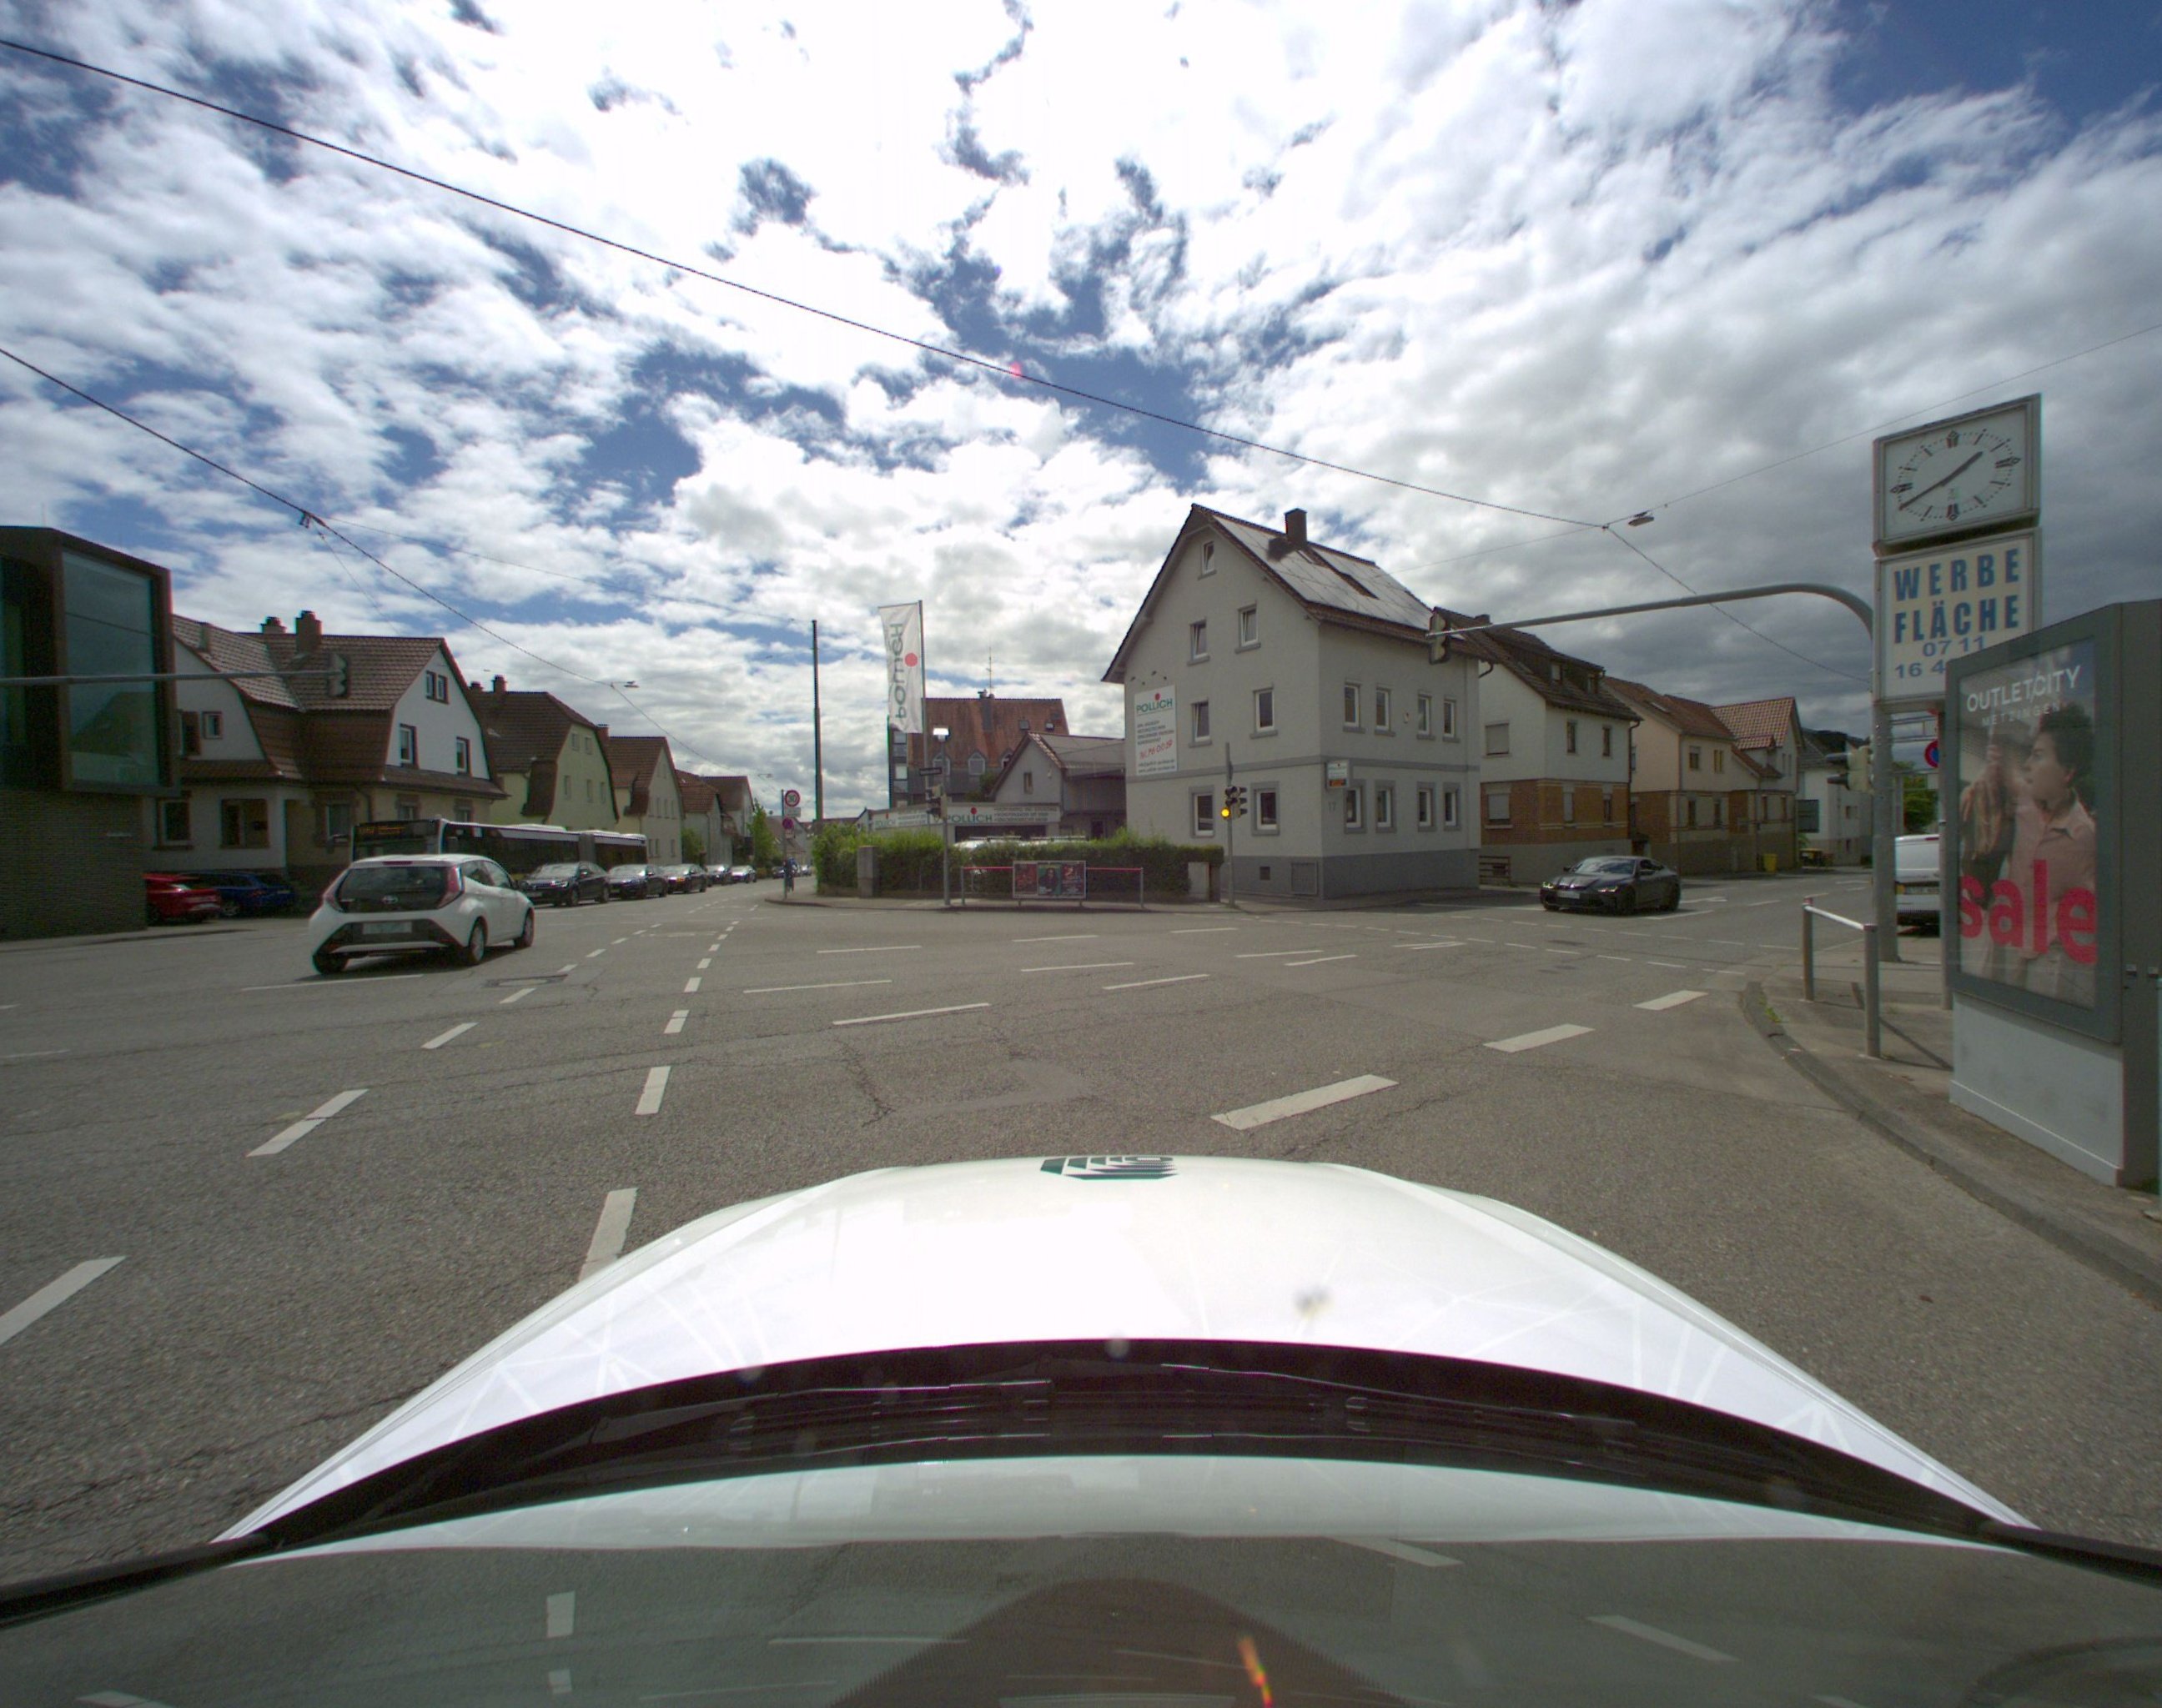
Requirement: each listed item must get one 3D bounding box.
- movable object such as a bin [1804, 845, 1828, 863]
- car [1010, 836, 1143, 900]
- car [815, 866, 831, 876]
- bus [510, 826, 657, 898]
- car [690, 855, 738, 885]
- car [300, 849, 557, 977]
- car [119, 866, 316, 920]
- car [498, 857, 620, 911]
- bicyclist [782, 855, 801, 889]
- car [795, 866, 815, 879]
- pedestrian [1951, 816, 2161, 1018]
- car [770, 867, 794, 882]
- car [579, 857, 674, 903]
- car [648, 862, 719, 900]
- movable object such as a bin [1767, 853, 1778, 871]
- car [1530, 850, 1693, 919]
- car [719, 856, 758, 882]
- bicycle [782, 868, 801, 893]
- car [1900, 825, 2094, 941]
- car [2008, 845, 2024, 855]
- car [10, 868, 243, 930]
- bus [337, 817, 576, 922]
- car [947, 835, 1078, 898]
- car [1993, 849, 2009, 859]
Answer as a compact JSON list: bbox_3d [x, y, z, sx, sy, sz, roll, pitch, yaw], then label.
[{"bbox_3d":[55.102,0.003,61.039,0.821,1.310,1.270,-1,0,-42],"label":"movable object such as a bin"},{"bbox_3d":[-0.120,0.423,27.013,4.018,1.948,1.978,-1,0,-36],"label":"car"},{"bbox_3d":[-42.790,2.826,135.270,1.993,1.640,3.987,-1,0,-9],"label":"car"},{"bbox_3d":[-22.740,0.293,37.937,2.779,2.914,9.156,-1,0,-11],"label":"bus"},{"bbox_3d":[-26.634,1.137,59.253,1.991,2.013,3.991,-1,0,-7],"label":"car"},{"bbox_3d":[-8.914,0.703,11.511,1.744,1.460,3.508,-2,0,-20],"label":"car"},{"bbox_3d":[-28.405,1.242,26.963,3.992,1.684,1.991,0,0,-14],"label":"car"},{"bbox_3d":[-17.431,0.951,27.433,1.993,1.640,3.987,-1,0,-9],"label":"car"},{"bbox_3d":[-13.952,0.851,39.238,0.843,1.614,1.076,-1,0,-20],"label":"bicyclist"},{"bbox_3d":[-38.137,2.528,112.621,1.993,1.640,3.987,-1,0,-9],"label":"car"},{"bbox_3d":[8.705,0.532,7.277,0.834,1.637,0.870,-3,-2,-10],"label":"pedestrian"},{"bbox_3d":[-35.655,2.383,97.229,1.993,1.640,3.987,-1,0,-9],"label":"car"},{"bbox_3d":[-18.079,0.980,32.637,1.993,1.640,4.170,-1,0,-9],"label":"car"},{"bbox_3d":[-18.985,1.240,39.090,1.993,1.640,3.987,-1,0,-9],"label":"car"},{"bbox_3d":[42.793,0.507,50.398,0.300,1.128,0.427,-1,-1,-38],"label":"movable object such as a bin"},{"bbox_3d":[13.409,0.669,20.499,4.639,1.457,1.978,-1,2,-37],"label":"car"},{"bbox_3d":[-27.793,1.180,66.236,1.993,2.013,3.988,-1,0,-9],"label":"car"},{"bbox_3d":[-13.929,1.257,39.188,0.835,1.164,2.177,-1,0,-20],"label":"bicycle"},{"bbox_3d":[16.658,0.433,14.754,4.510,1.794,1.896,-1,0,-36],"label":"car"},{"bbox_3d":[189.469,-0.865,165.049,4.021,2.014,1.976,0,-1,-41],"label":"car"},{"bbox_3d":[-27.861,1.267,23.941,3.992,1.640,1.991,0,0,-14],"label":"car"},{"bbox_3d":[-21.112,0.433,28.458,2.779,3.060,9.156,-1,0,-11],"label":"bus"},{"bbox_3d":[-2.330,0.376,28.012,4.017,2.013,1.978,-1,0,-35],"label":"car"},{"bbox_3d":[176.751,0.013,156.393,4.021,2.014,1.976,0,-1,-41],"label":"car"}]
